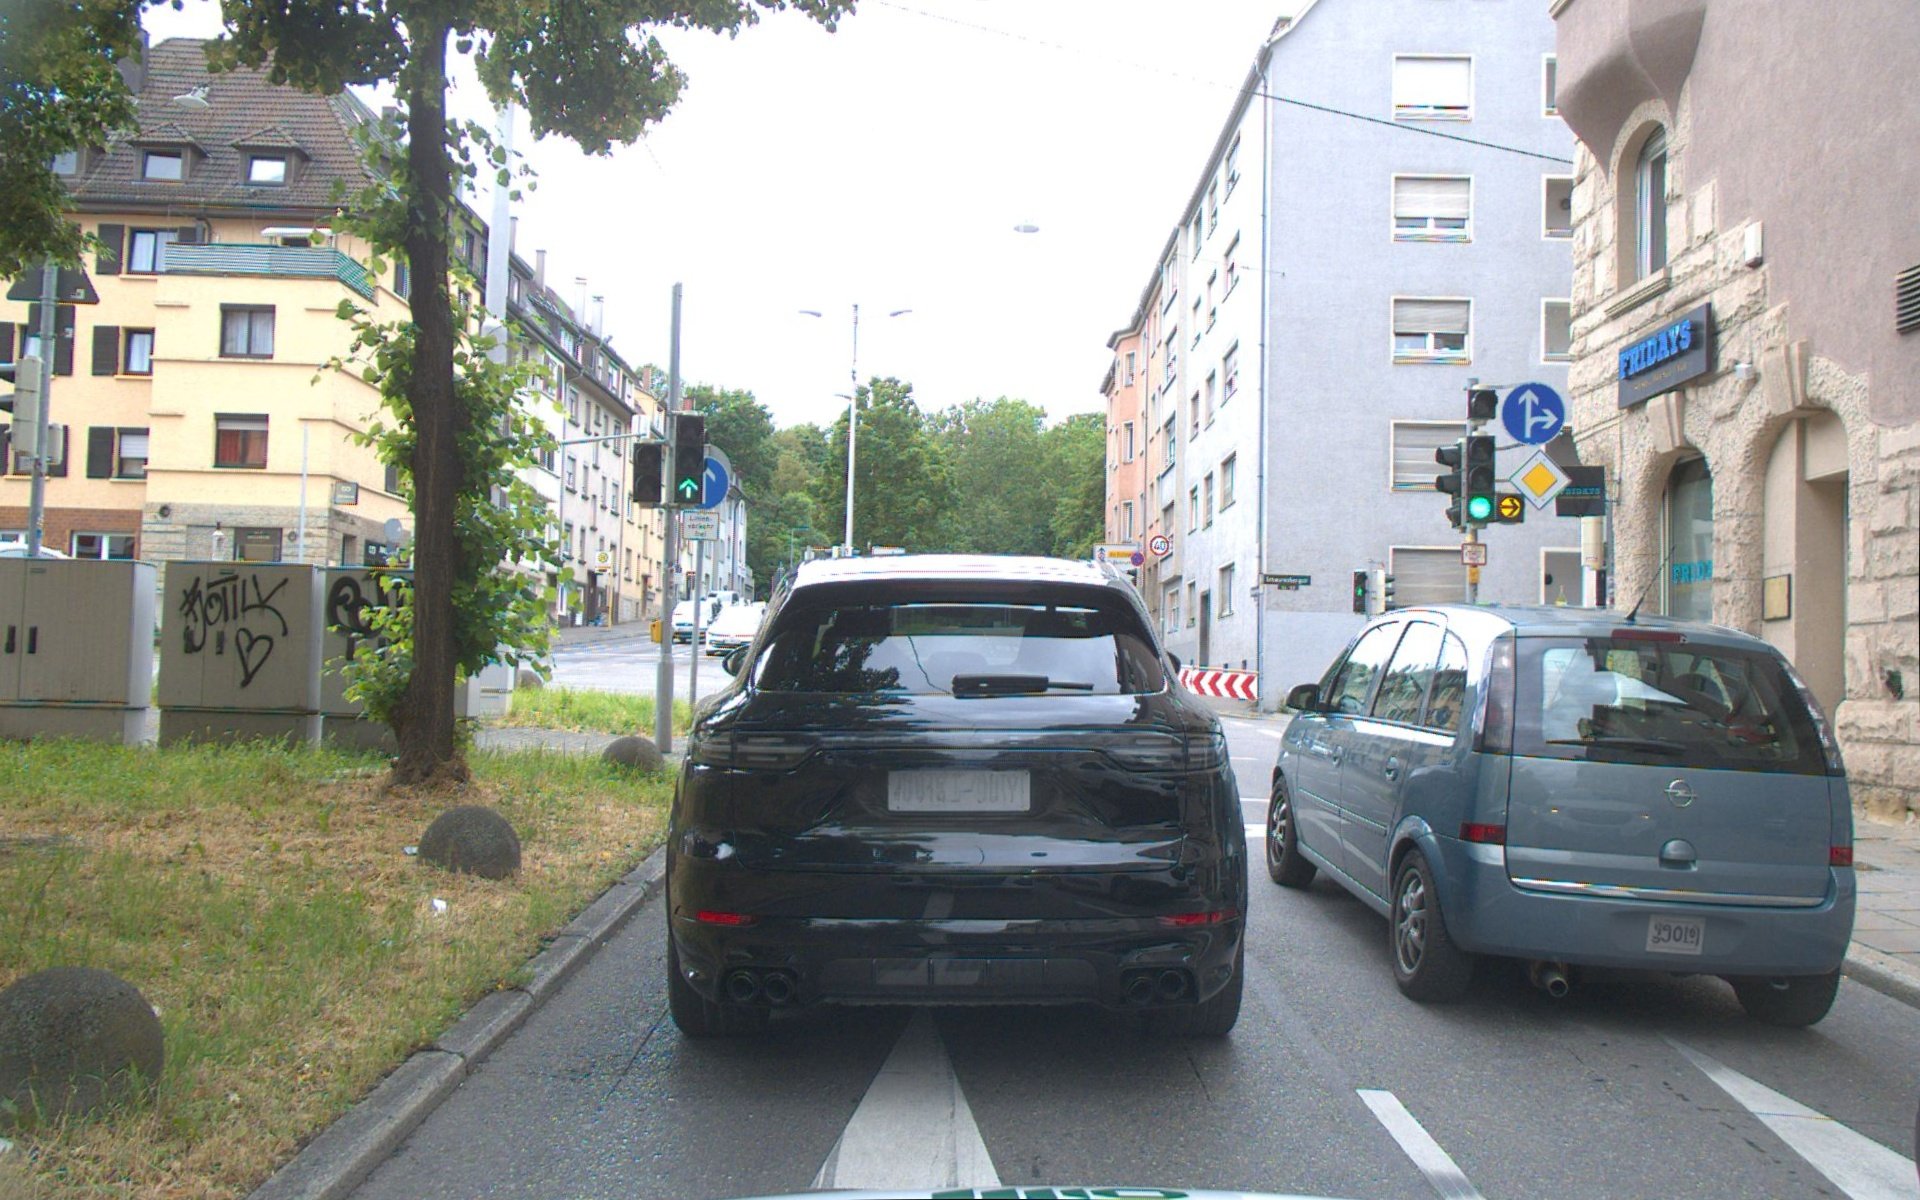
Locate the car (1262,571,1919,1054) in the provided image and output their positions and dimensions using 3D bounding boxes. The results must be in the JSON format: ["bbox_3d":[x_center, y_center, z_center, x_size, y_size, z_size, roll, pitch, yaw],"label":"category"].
[{"bbox_3d":[2.626,0.770,7.769,1.596,1.625,3.668,4,0,-1],"label":"car"}]

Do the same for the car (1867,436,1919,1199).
[{"bbox_3d":[2.930,0.638,1.056,1.936,1.806,4.674,4,0,-2],"label":"car"}]

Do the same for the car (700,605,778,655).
[{"bbox_3d":[-6.693,0.887,50.458,1.824,1.412,4.094,1,0,0],"label":"car"}]

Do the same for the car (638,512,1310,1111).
[{"bbox_3d":[0.018,0.612,6.725,1.916,1.704,3.999,0,0,-1],"label":"car"}]

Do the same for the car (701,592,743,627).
[{"bbox_3d":[-14.980,0.586,104.172,1.975,2.081,4.666,1,0,0],"label":"car"}]

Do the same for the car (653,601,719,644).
[{"bbox_3d":[-10.031,0.837,60.769,1.585,1.506,3.824,1,-1,3],"label":"car"}]

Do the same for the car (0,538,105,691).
[{"bbox_3d":[-11.321,0.132,18.225,1.858,1.656,4.485,1,1,-6],"label":"car"}]
